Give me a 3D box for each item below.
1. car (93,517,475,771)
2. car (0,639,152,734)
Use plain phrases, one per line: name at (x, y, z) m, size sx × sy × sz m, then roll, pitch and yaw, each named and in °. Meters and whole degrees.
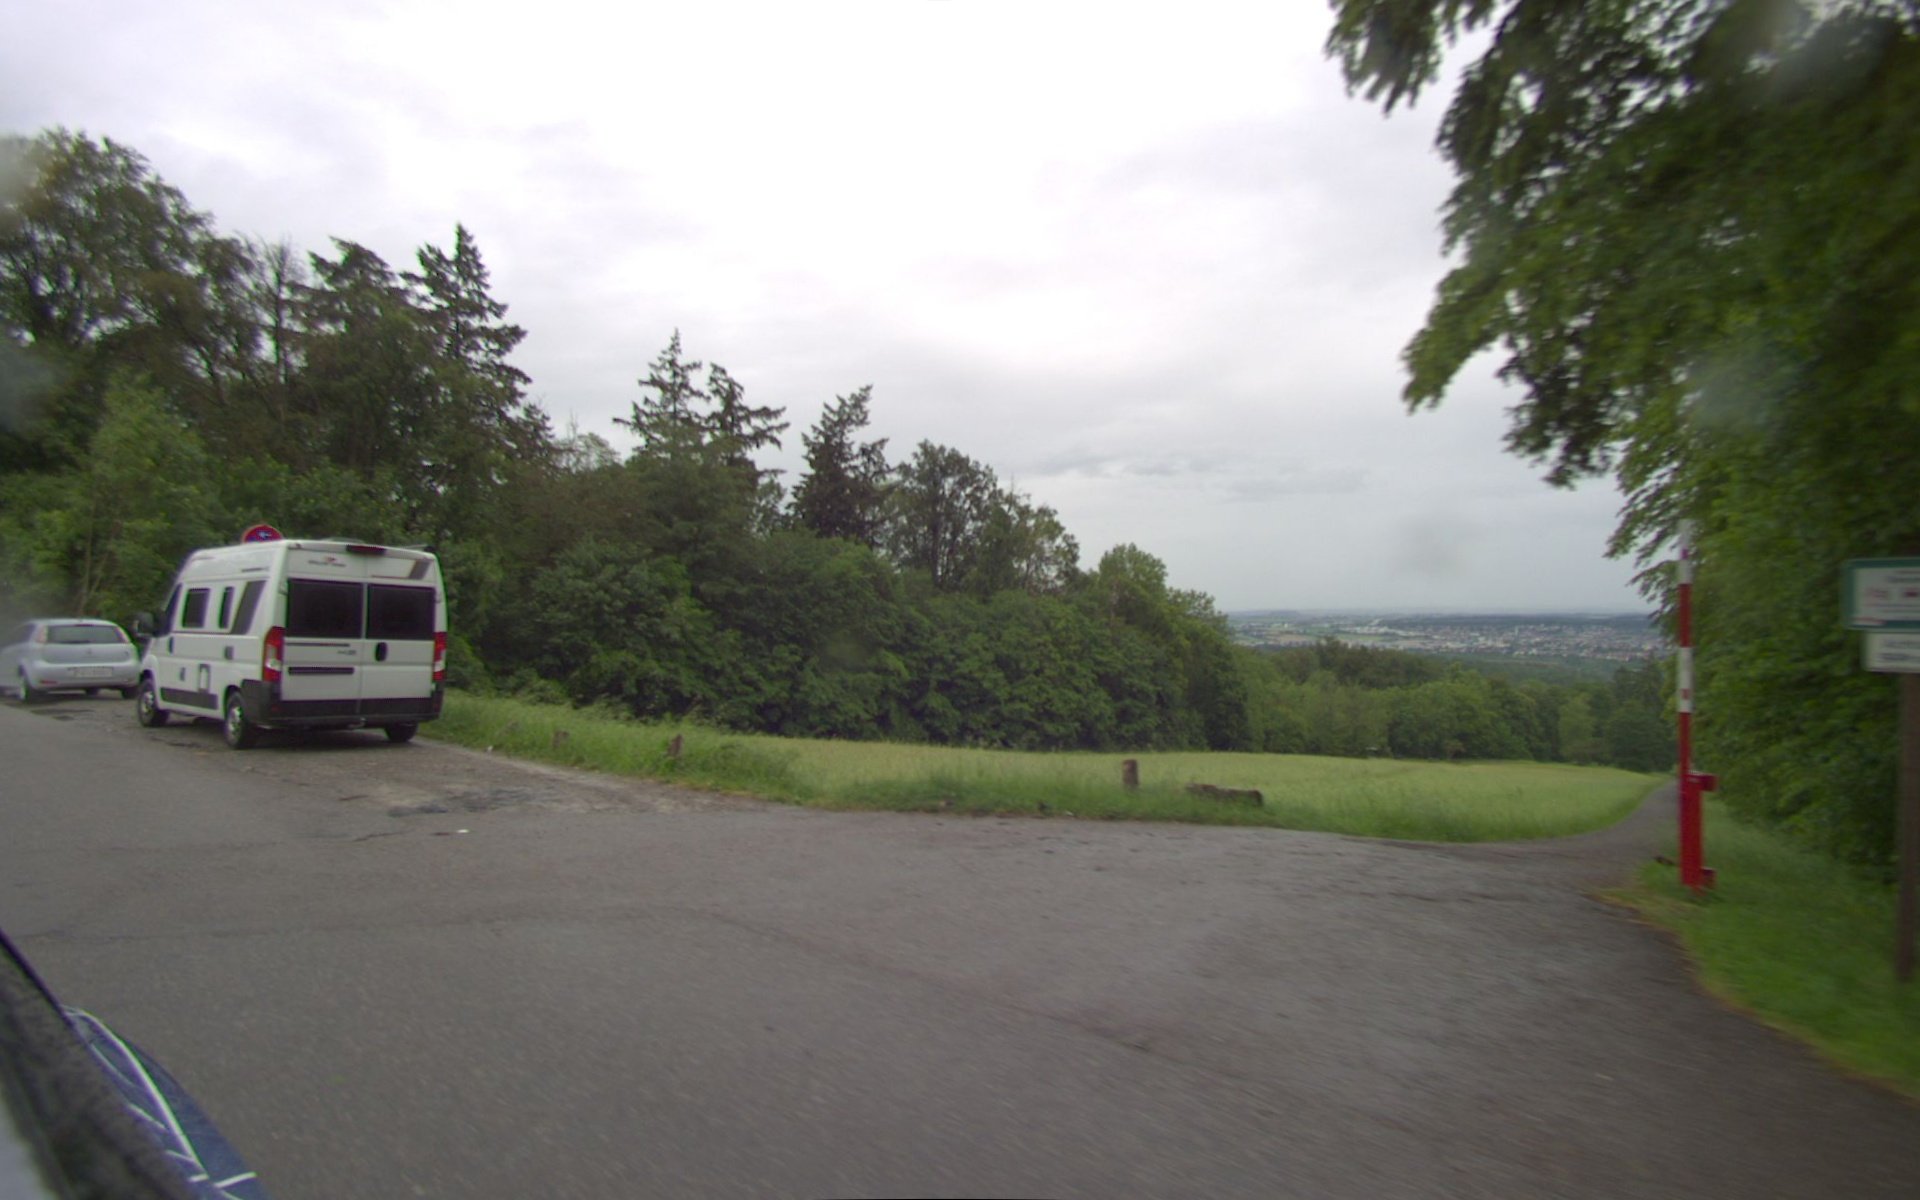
car at (-9.207, 0.655, 13.568) m, size 6.037 × 2.718 × 2.252 m, roll -3°, pitch -5°, yaw 36°
car at (-17.276, 1.597, 19.274) m, size 4.486 × 1.608 × 1.844 m, roll -3°, pitch -4°, yaw 37°
